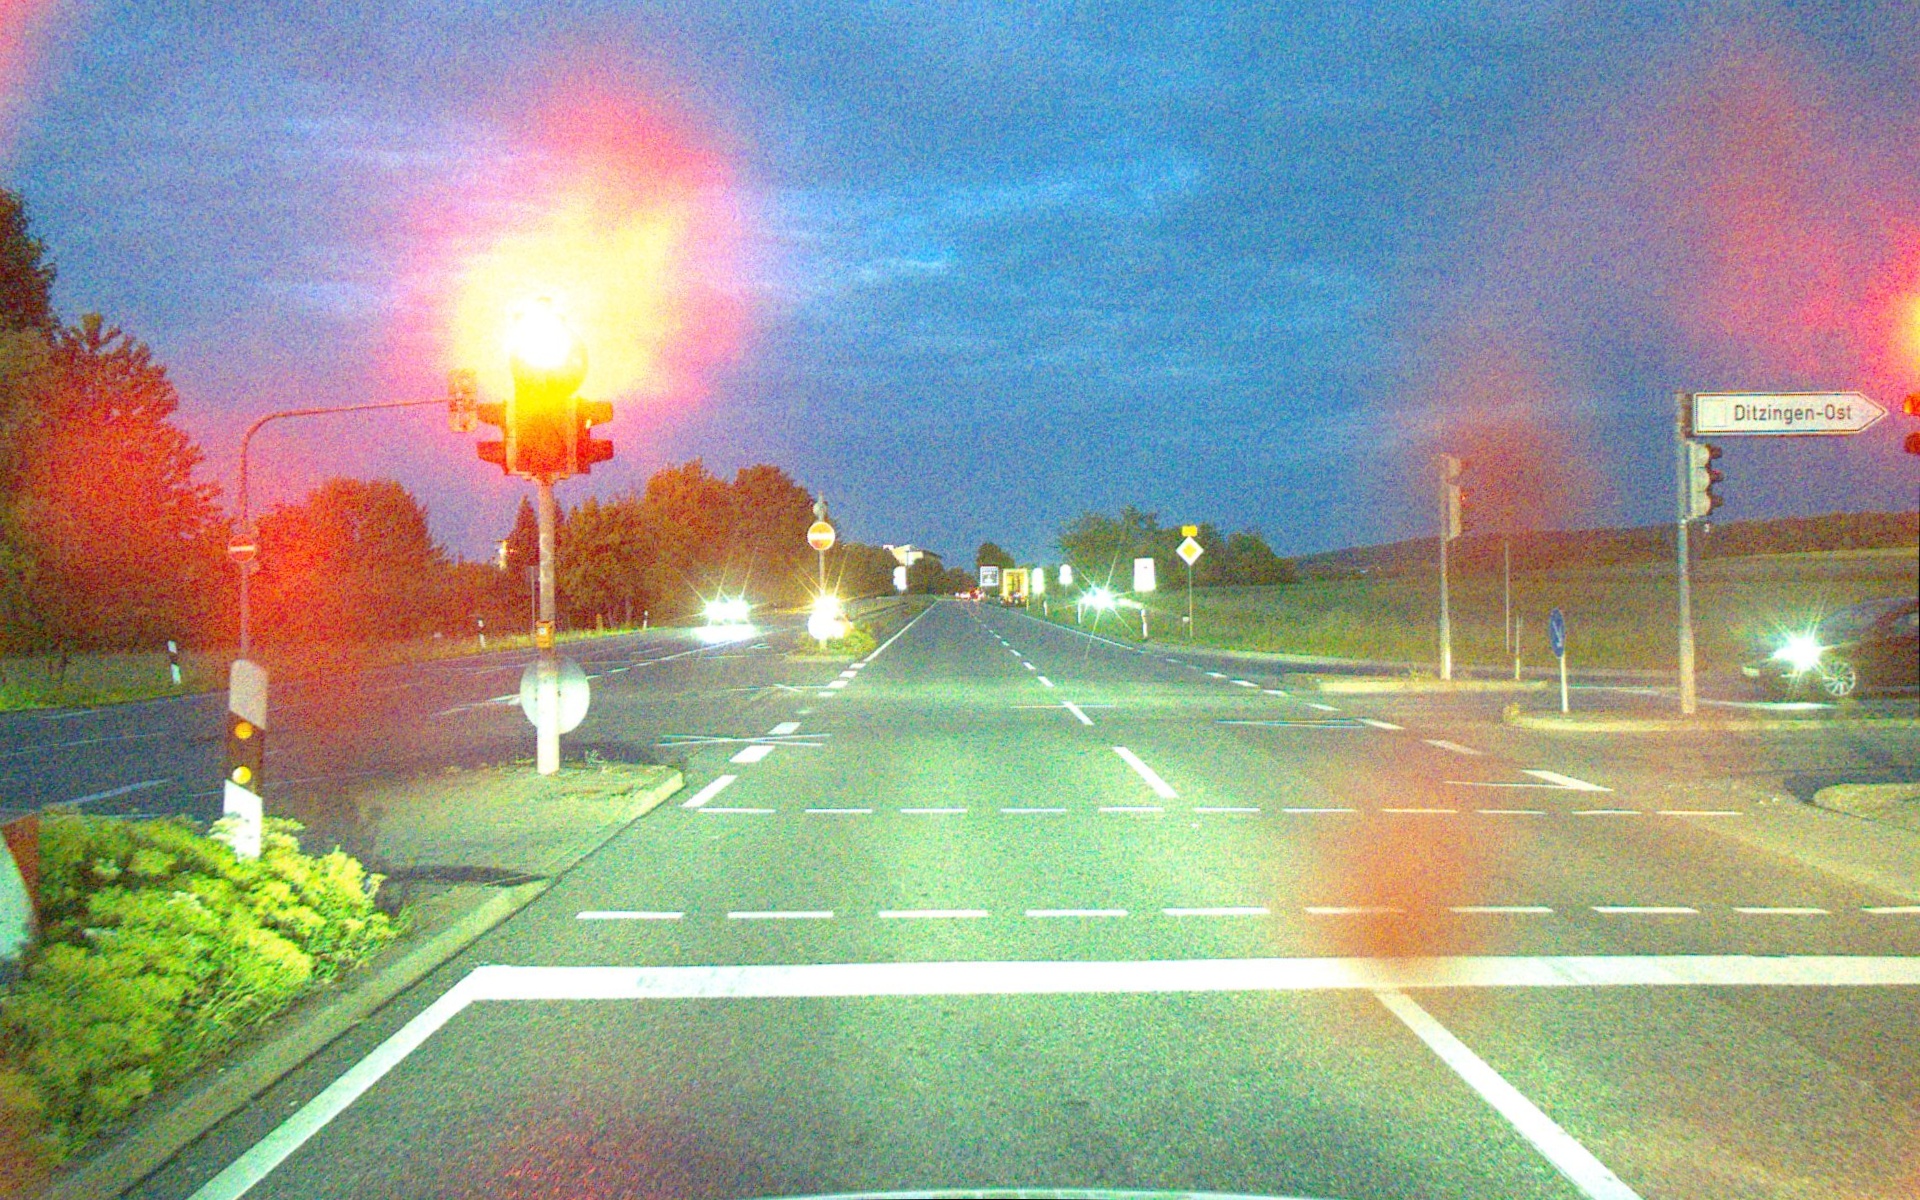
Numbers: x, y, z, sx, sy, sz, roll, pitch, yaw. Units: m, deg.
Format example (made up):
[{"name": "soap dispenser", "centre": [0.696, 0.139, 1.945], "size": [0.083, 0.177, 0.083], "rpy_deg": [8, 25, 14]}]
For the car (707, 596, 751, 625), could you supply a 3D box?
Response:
[{"name": "car", "centre": [-13.004, 0.563, 93.259], "size": [1.953, 1.545, 4.297], "rpy_deg": [-1, 0, -1]}]

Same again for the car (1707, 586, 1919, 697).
[{"name": "car", "centre": [14.164, 0.587, 25.359], "size": [4.507, 1.547, 2.000], "rpy_deg": [-2, 0, 0]}]

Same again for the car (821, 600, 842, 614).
[{"name": "car", "centre": [-13.291, 0.739, 170.992], "size": [1.953, 1.411, 3.999], "rpy_deg": [-1, 0, -1]}]
